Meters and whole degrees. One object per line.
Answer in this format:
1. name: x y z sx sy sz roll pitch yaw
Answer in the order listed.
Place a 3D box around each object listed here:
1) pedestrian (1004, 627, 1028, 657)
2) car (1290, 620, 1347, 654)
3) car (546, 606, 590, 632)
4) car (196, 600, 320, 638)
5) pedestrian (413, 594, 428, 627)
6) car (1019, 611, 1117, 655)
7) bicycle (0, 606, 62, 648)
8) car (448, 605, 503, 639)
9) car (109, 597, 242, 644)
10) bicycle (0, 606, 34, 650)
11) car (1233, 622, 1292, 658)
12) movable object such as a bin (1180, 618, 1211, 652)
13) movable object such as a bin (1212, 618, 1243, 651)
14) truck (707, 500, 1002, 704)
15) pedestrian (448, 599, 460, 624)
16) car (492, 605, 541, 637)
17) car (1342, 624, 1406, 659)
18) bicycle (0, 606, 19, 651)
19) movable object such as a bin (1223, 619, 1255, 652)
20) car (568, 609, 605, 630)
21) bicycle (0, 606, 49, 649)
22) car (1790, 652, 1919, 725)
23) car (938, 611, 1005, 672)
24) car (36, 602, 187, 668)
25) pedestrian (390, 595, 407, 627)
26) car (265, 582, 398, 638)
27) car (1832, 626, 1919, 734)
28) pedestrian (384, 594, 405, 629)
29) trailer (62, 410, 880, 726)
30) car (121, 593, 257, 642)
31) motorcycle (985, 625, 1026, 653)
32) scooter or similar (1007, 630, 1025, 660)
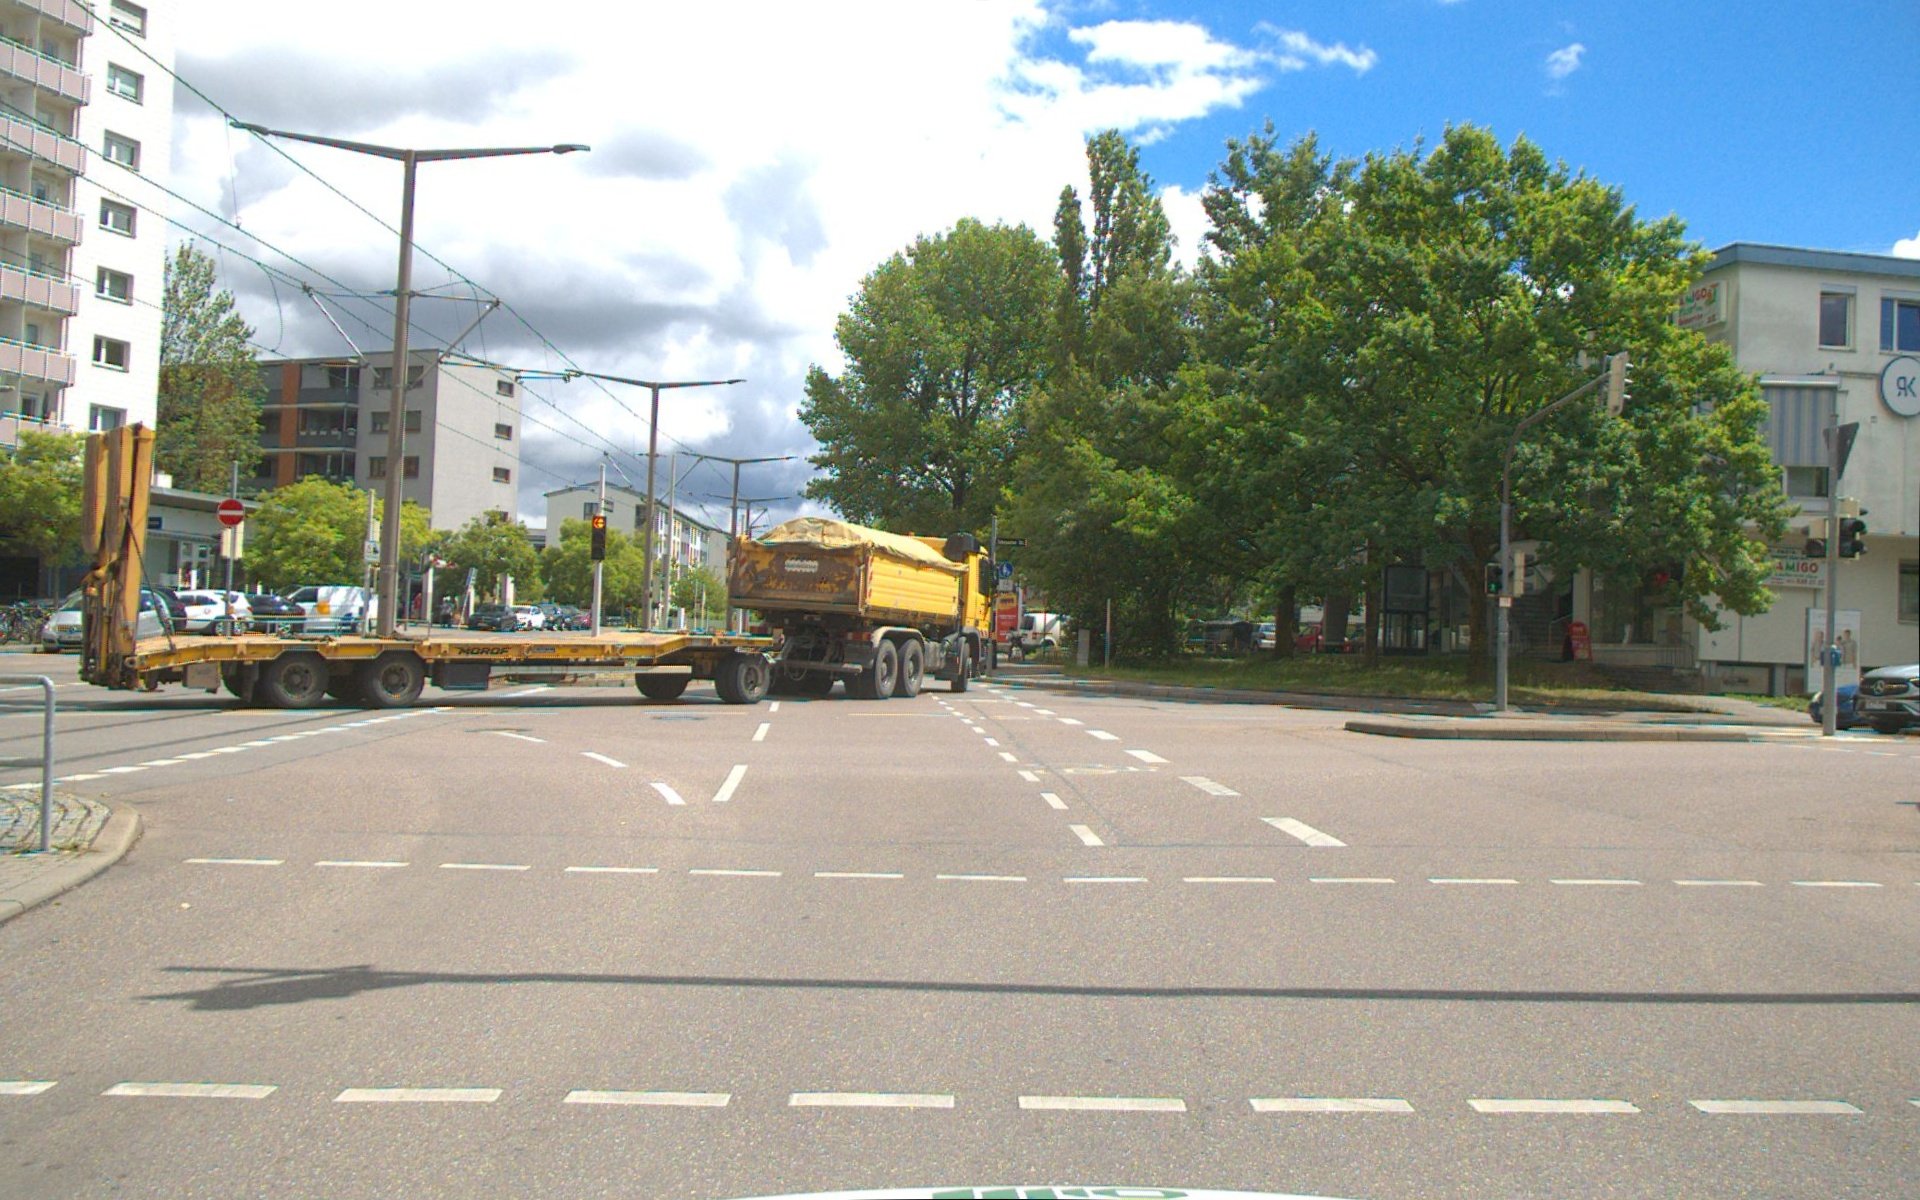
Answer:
1. pedestrian: 2.070 1.552 61.093 0.761 1.073 0.546 1 -1 -10
2. car: 16.727 1.700 77.321 1.708 1.468 3.999 1 0 -1
3. car: -26.009 1.236 109.751 1.953 1.677 4.099 1 0 0
4. car: -26.721 0.732 63.014 1.875 1.408 3.971 1 0 45
5. pedestrian: -29.875 0.585 91.612 0.599 1.824 0.843 1 -1 -4
6. car: 4.749 1.464 72.830 3.939 1.855 1.795 1 0 -27
7. bicycle: -25.027 0.695 43.513 2.378 1.085 0.704 1 0 -2
8. car: -25.540 1.142 87.318 1.955 1.692 4.095 3 0 -5
9. car: -26.619 0.711 56.177 3.736 1.522 1.720 1 0 -43
10. bicycle: -24.928 0.691 42.007 2.378 1.085 0.704 1 0 -2
11. car: 13.999 1.836 76.769 1.901 1.516 3.999 1 0 -1
12. movable object such as a bin: 10.413 1.545 73.164 1.093 1.455 1.284 1 0 -6
13. movable object such as a bin: 12.263 1.588 75.808 1.093 1.455 1.284 1 0 -6
14. truck: -1.722 0.044 31.721 2.774 3.389 7.987 1 0 19
15. pedestrian: -29.356 0.667 95.945 0.492 1.486 0.555 1 -1 -31
16. car: -25.409 1.189 94.793 1.955 1.692 4.095 3 0 -5
17. car: 19.123 1.900 76.618 1.709 1.496 3.997 1 0 -4
18. bicycle: -24.816 0.689 41.130 2.378 1.085 0.704 1 0 -2
19. movable object such as a bin: 12.477 1.583 73.964 1.093 1.455 1.284 1 0 -6
20. car: -26.255 1.360 116.312 1.579 1.451 3.424 1 0 3
21. bicycle: -24.972 0.693 42.768 2.378 1.085 0.704 1 0 -2
22. car: 17.238 1.601 29.616 3.886 1.247 1.909 1 -3 -9
23. car: 0.315 1.262 52.062 1.612 1.793 4.564 1 0 -6
24. car: -21.224 0.840 41.554 1.781 1.559 3.755 1 0 1
25. pedestrian: -28.559 0.571 84.079 0.656 1.601 0.681 1 -1 -31
26. car: -25.616 0.433 67.482 1.875 2.194 4.727 1 -1 45
27. car: 16.541 1.294 26.240 4.555 1.620 1.919 1 -3 -9
28. pedestrian: -27.420 0.557 80.261 0.830 1.678 0.608 3 -1 -27
29. trailer: -6.753 -0.306 24.854 11.494 3.839 3.019 1 -1 -39
30. car: -27.324 0.618 58.681 1.872 1.660 3.977 1 0 41
31. motorcycle: 2.093 1.805 76.529 1.773 1.231 0.706 1 -1 -26
32. scooter or similar: 2.077 1.666 61.103 0.468 1.073 0.895 1 0 -9
